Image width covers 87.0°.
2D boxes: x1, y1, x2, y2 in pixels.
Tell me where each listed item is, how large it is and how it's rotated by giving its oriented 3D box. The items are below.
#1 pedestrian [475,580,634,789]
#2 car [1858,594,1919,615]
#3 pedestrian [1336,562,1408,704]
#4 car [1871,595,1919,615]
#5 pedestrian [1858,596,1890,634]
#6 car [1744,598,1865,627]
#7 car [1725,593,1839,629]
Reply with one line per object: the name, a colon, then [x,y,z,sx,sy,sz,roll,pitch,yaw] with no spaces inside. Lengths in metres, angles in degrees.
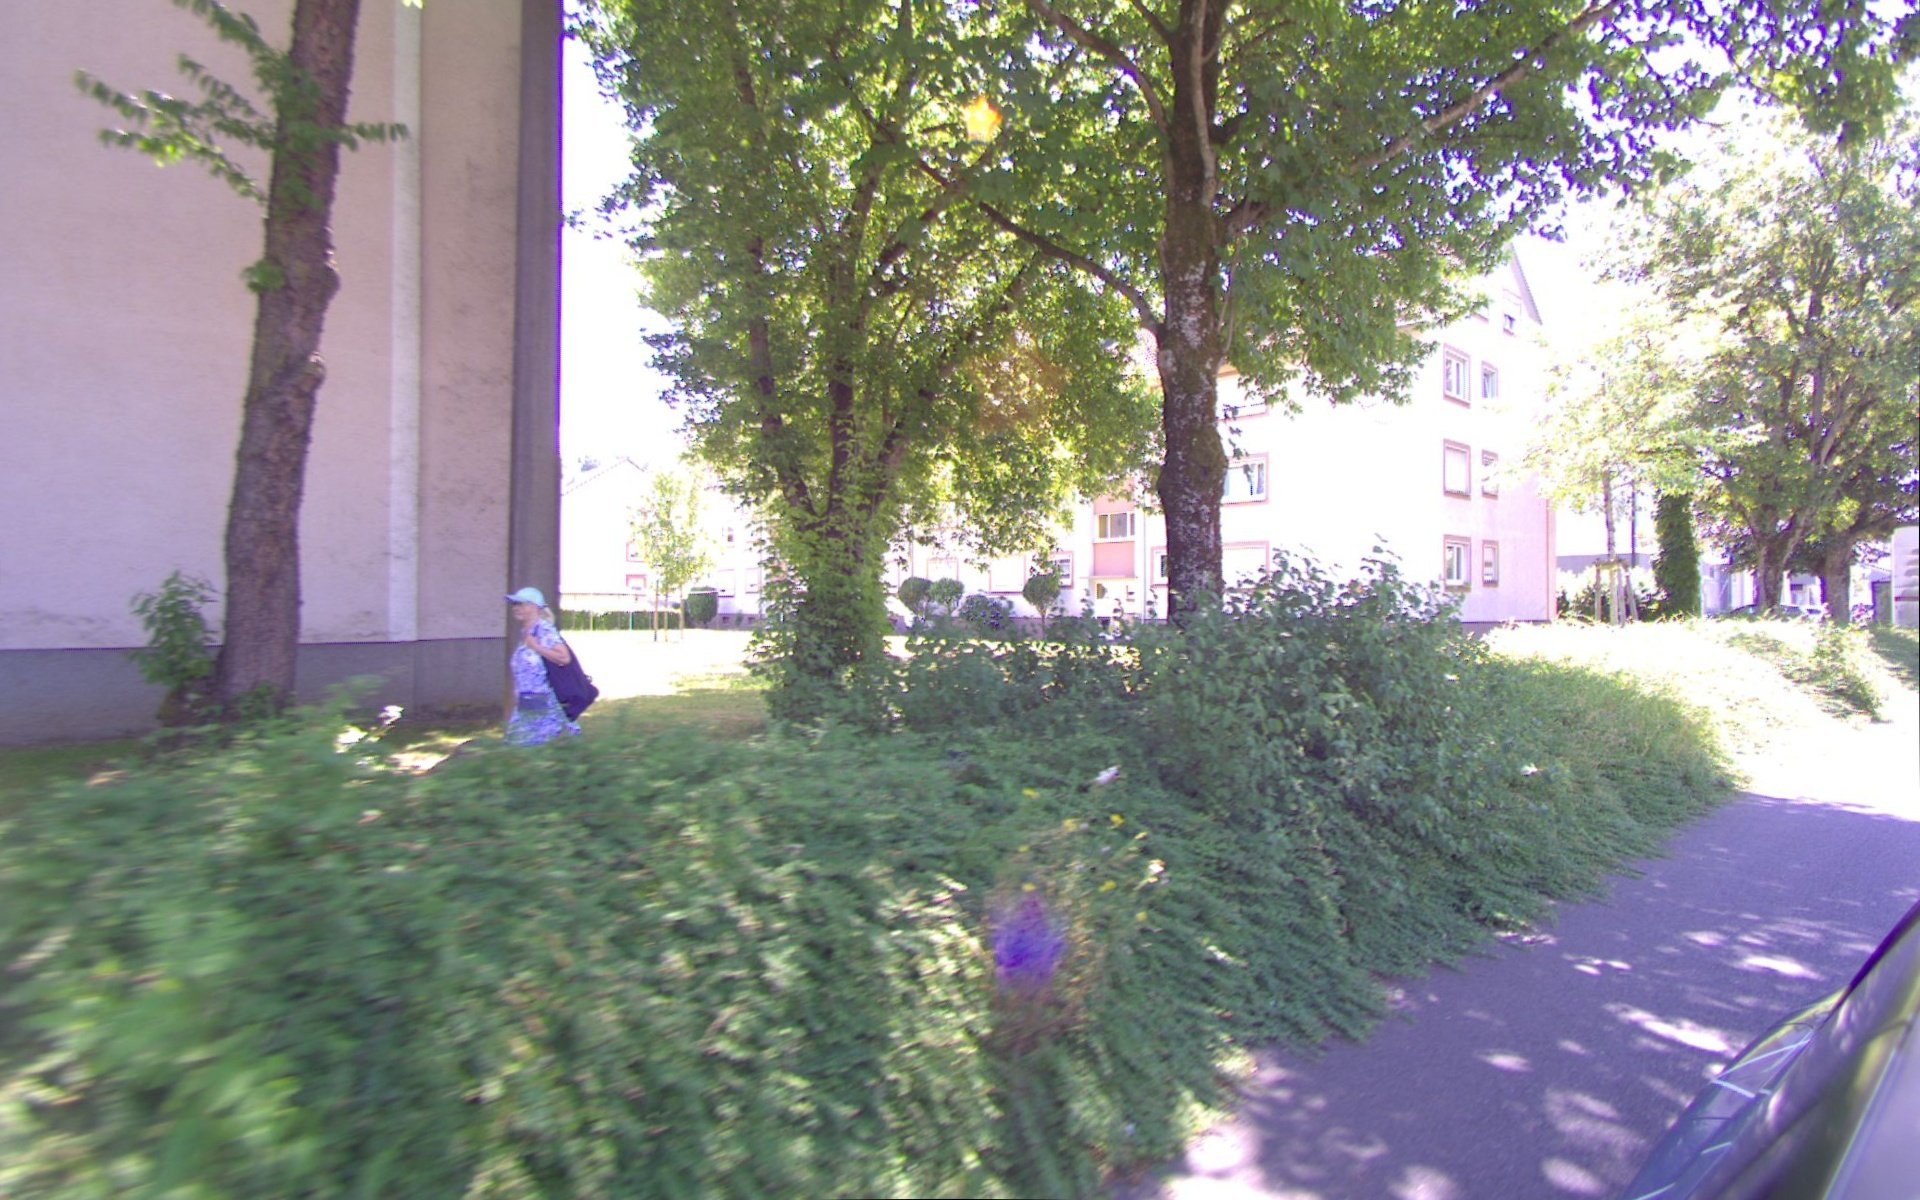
pedestrian: [-2.833,0.540,7.082,0.873,1.351,0.663,0,0,-41]
car: [70.971,0.315,76.779,1.643,1.552,3.875,0,1,-22]
pedestrian: [5.807,0.441,14.267,0.648,1.938,0.705,0,0,-37]
car: [72.765,0.342,77.567,1.768,1.479,4.007,0,1,-24]
pedestrian: [39.988,0.648,44.262,0.991,1.662,0.842,0,0,-36]
car: [42.217,0.618,50.733,4.316,1.388,1.937,0,0,28]
car: [39.328,0.476,48.500,1.766,1.569,3.995,0,2,-40]
